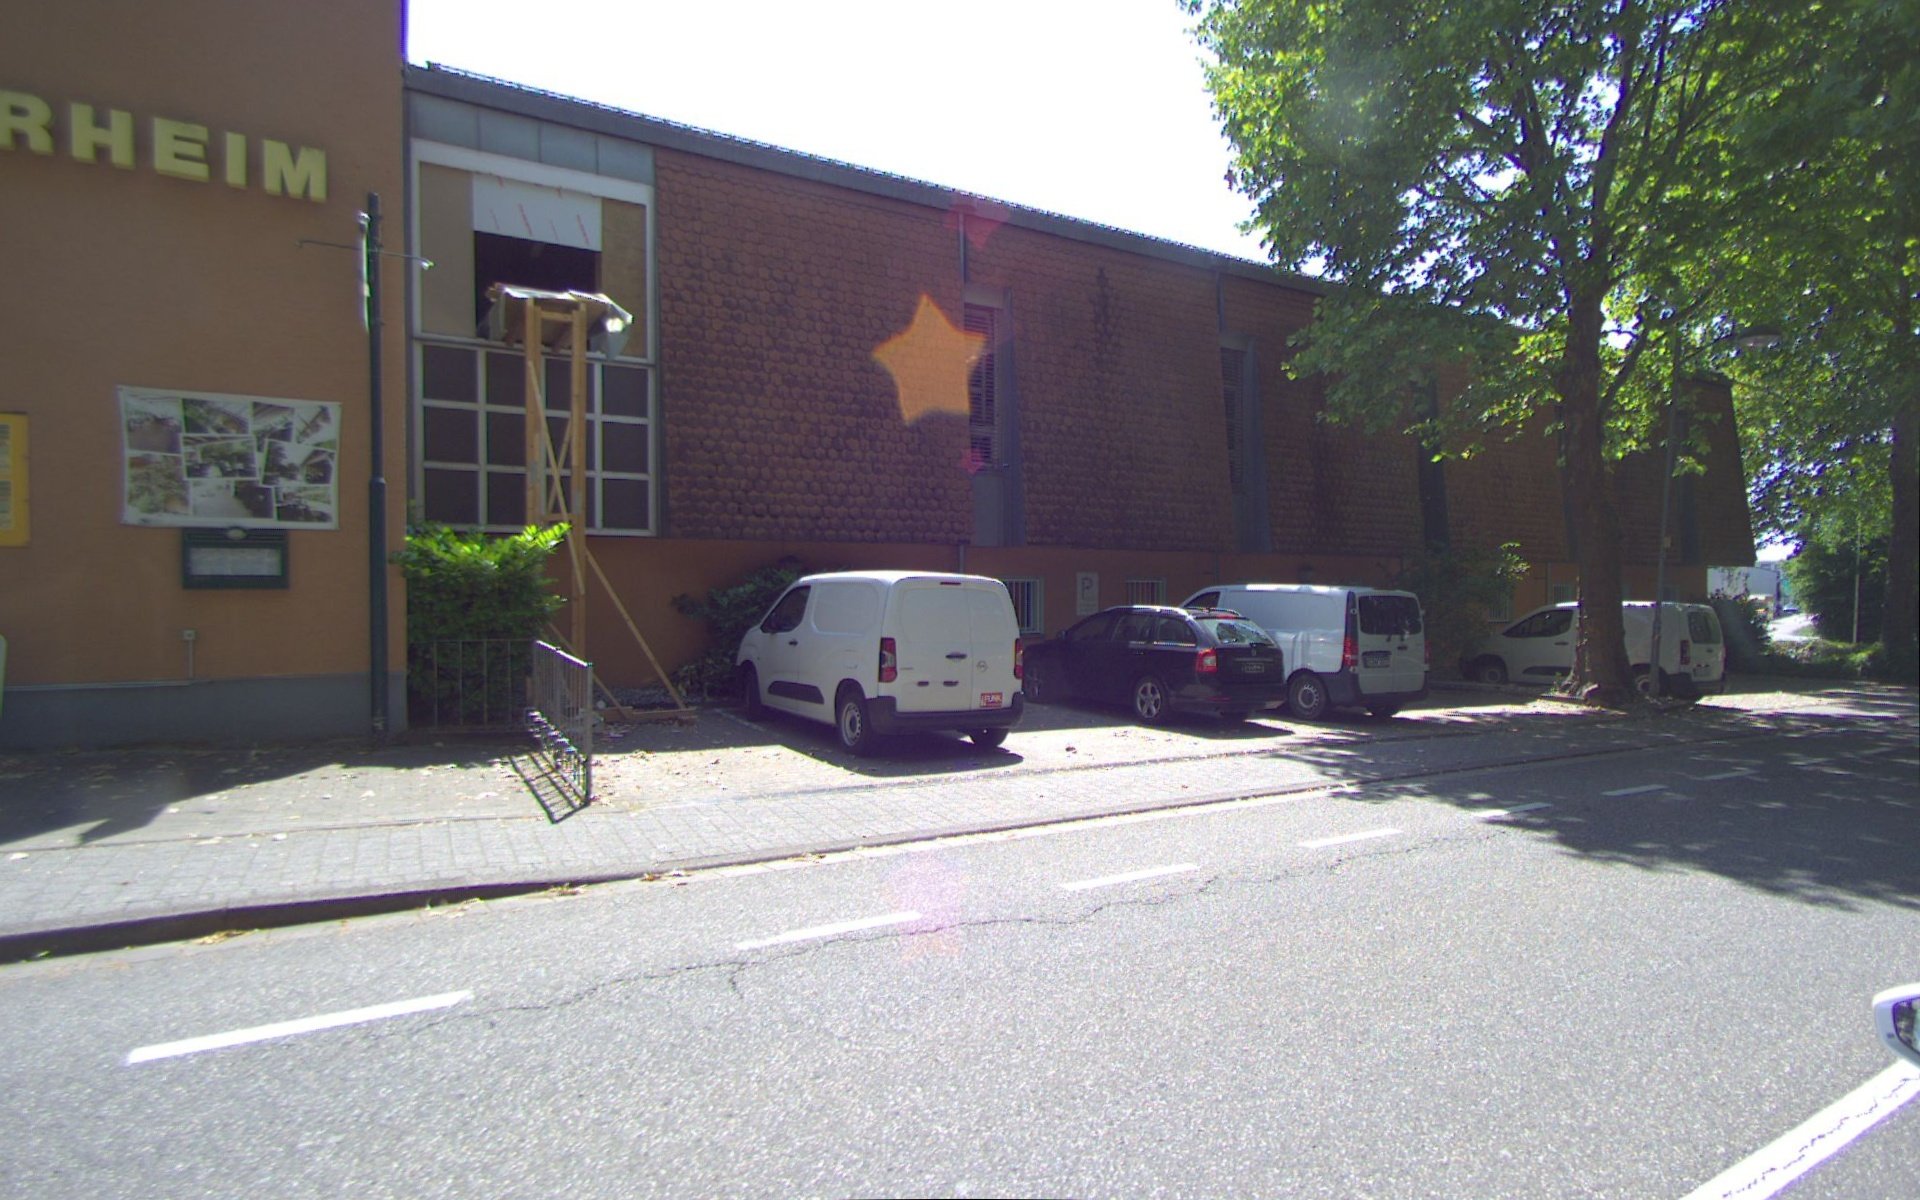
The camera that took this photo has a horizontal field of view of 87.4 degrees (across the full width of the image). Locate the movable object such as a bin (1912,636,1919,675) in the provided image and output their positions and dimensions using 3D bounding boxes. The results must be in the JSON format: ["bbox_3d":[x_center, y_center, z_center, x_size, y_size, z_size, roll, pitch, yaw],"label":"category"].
[{"bbox_3d":[27.338,1.557,28.208,0.693,1.093,0.731,1,0,-31],"label":"movable object such as a bin"}]

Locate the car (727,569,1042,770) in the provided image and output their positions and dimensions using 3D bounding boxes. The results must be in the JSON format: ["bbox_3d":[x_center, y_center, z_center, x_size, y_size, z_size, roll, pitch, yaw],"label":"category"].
[{"bbox_3d":[-1.030,0.601,11.267,1.848,1.816,3.964,1,1,-33],"label":"car"}]

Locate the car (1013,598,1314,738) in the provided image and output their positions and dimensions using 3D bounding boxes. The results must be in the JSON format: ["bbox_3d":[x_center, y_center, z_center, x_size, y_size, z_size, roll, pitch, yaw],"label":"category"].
[{"bbox_3d":[2.651,0.815,13.956,1.848,1.535,3.964,1,1,-33],"label":"car"}]

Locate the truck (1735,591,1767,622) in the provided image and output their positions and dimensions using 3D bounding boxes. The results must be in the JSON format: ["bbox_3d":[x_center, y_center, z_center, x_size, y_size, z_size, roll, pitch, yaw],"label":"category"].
[{"bbox_3d":[81.918,0.687,104.093,2.291,2.930,6.559,1,-2,36],"label":"truck"}]

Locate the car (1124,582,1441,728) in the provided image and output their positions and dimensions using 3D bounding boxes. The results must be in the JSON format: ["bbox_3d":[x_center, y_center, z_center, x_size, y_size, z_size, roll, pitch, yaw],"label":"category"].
[{"bbox_3d":[4.717,0.700,15.343,1.883,1.828,4.397,1,1,-33],"label":"car"}]

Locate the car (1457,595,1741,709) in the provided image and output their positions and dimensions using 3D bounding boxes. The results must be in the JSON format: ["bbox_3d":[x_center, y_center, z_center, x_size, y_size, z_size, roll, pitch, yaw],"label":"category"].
[{"bbox_3d":[11.919,0.882,19.016,1.883,1.828,4.104,1,1,-33],"label":"car"}]

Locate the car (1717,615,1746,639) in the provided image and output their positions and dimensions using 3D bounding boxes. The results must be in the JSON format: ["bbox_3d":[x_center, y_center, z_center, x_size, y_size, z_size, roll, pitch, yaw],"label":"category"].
[{"bbox_3d":[68.278,2.413,88.940,1.968,2.040,3.985,1,-2,38],"label":"car"}]
